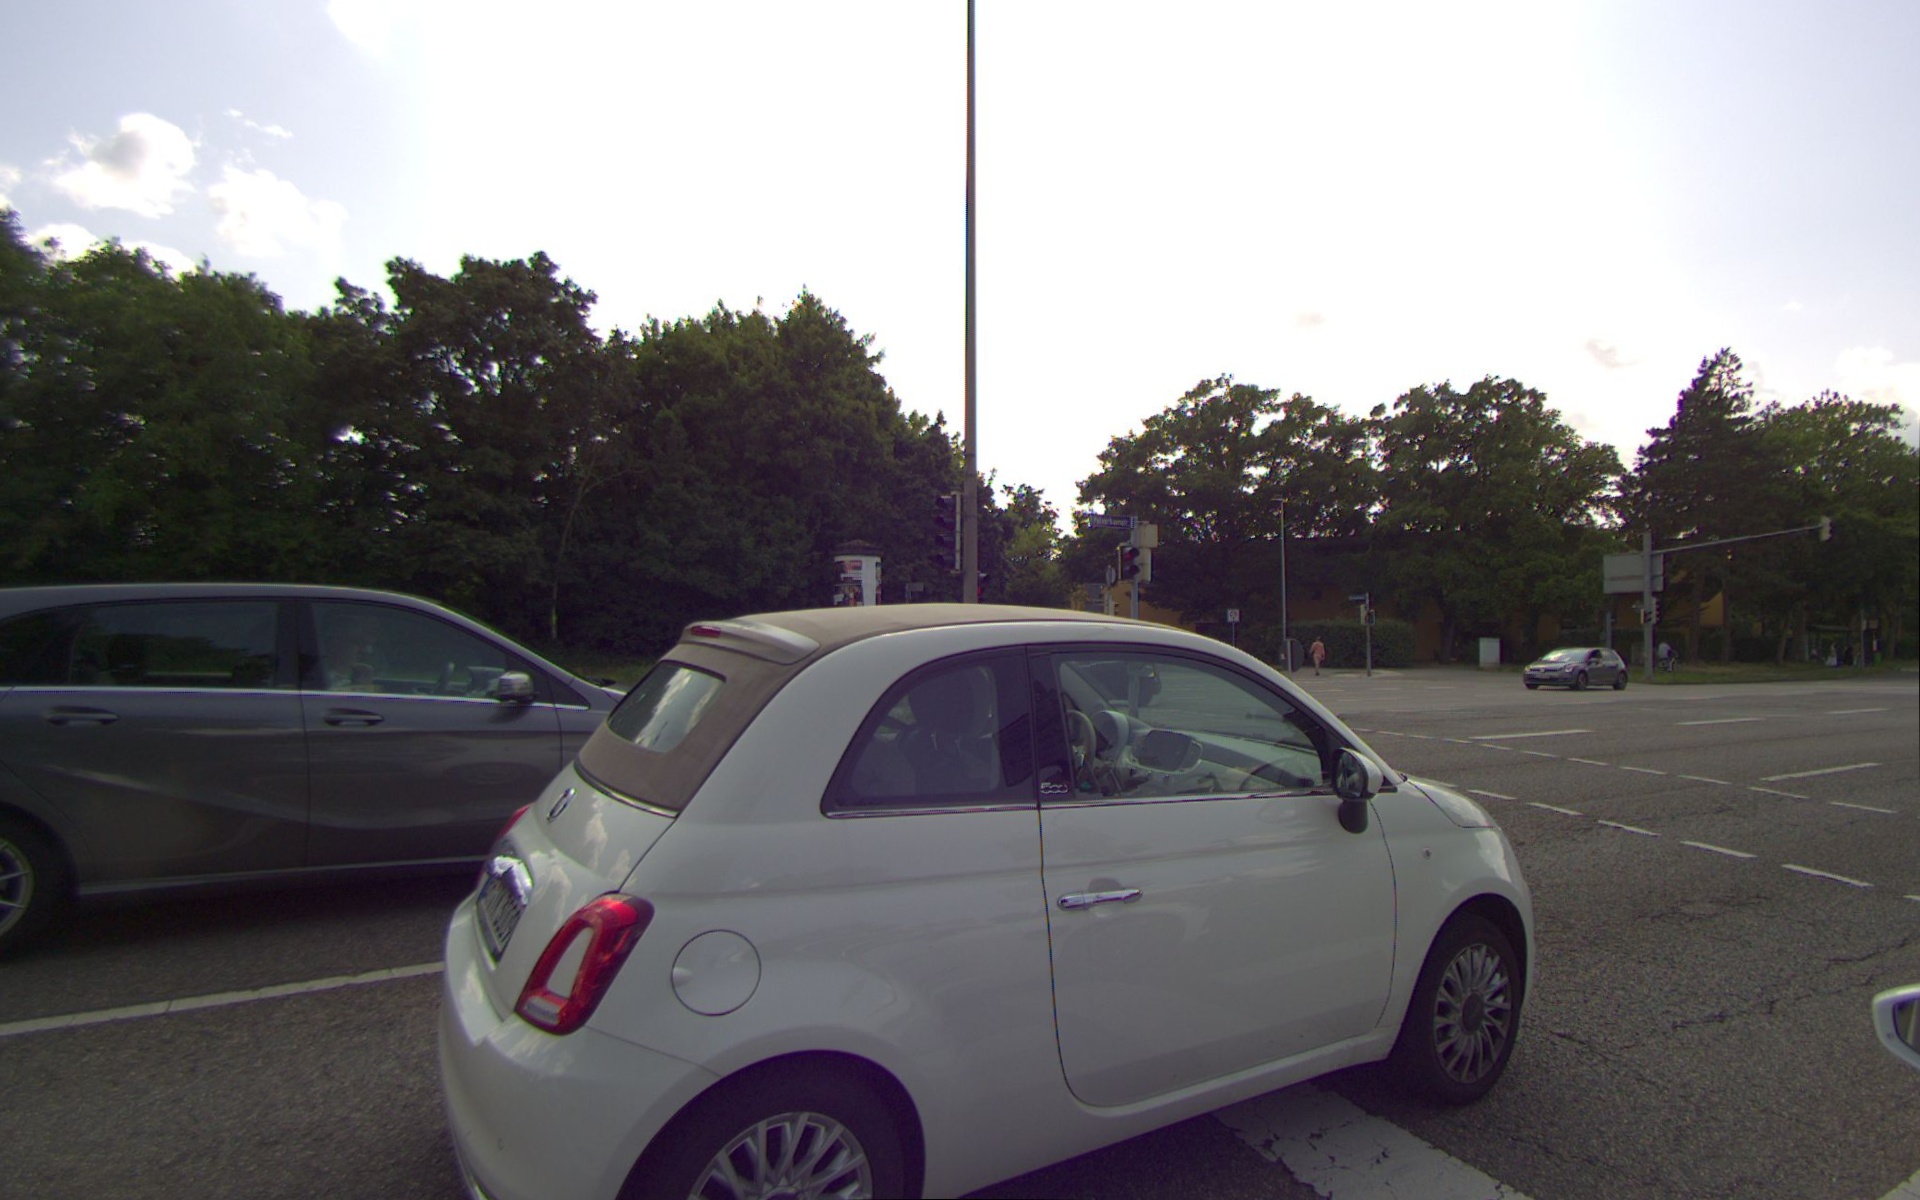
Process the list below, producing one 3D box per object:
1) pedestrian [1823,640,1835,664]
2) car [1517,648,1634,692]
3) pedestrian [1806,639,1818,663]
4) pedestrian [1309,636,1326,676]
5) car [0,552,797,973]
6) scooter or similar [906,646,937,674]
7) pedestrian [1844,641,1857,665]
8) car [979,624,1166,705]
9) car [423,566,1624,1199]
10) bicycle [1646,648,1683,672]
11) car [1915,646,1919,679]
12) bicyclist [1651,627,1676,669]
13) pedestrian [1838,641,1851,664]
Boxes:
[{"bbox_3d":[56.888,3.391,65.772,0.564,1.515,0.418,2,-1,45],"label":"pedestrian"},{"bbox_3d":[20.727,2.318,33.800,4.031,1.390,1.588,2,-3,-29],"label":"car"},{"bbox_3d":[56.342,3.379,66.430,0.564,1.515,0.418,2,-1,45],"label":"pedestrian"},{"bbox_3d":[16.277,2.547,45.757,0.679,1.764,0.705,0,-2,23],"label":"pedestrian"},{"bbox_3d":[-3.199,0.686,5.226,4.310,1.640,1.690,3,-2,-31],"label":"car"},{"bbox_3d":[-1.366,2.113,35.254,1.022,0.954,0.295,2,-1,-24],"label":"scooter or similar"},{"bbox_3d":[57.365,3.393,64.681,0.564,1.515,0.418,2,-1,45],"label":"pedestrian"},{"bbox_3d":[2.701,1.517,23.759,4.261,1.764,1.663,3,-2,-31],"label":"car"},{"bbox_3d":[0.337,0.768,3.177,3.500,1.516,1.562,3,-1,-31],"label":"car"},{"bbox_3d":[34.690,2.955,49.445,2.092,1.133,0.750,2,-3,-33],"label":"bicycle"},{"bbox_3d":[44.962,2.818,45.312,4.409,1.484,1.761,2,-3,-34],"label":"car"},{"bbox_3d":[34.592,2.347,49.399,0.822,2.040,0.747,2,-2,-33],"label":"bicyclist"},{"bbox_3d":[57.717,3.419,65.555,0.564,1.515,0.418,2,-1,45],"label":"pedestrian"}]
